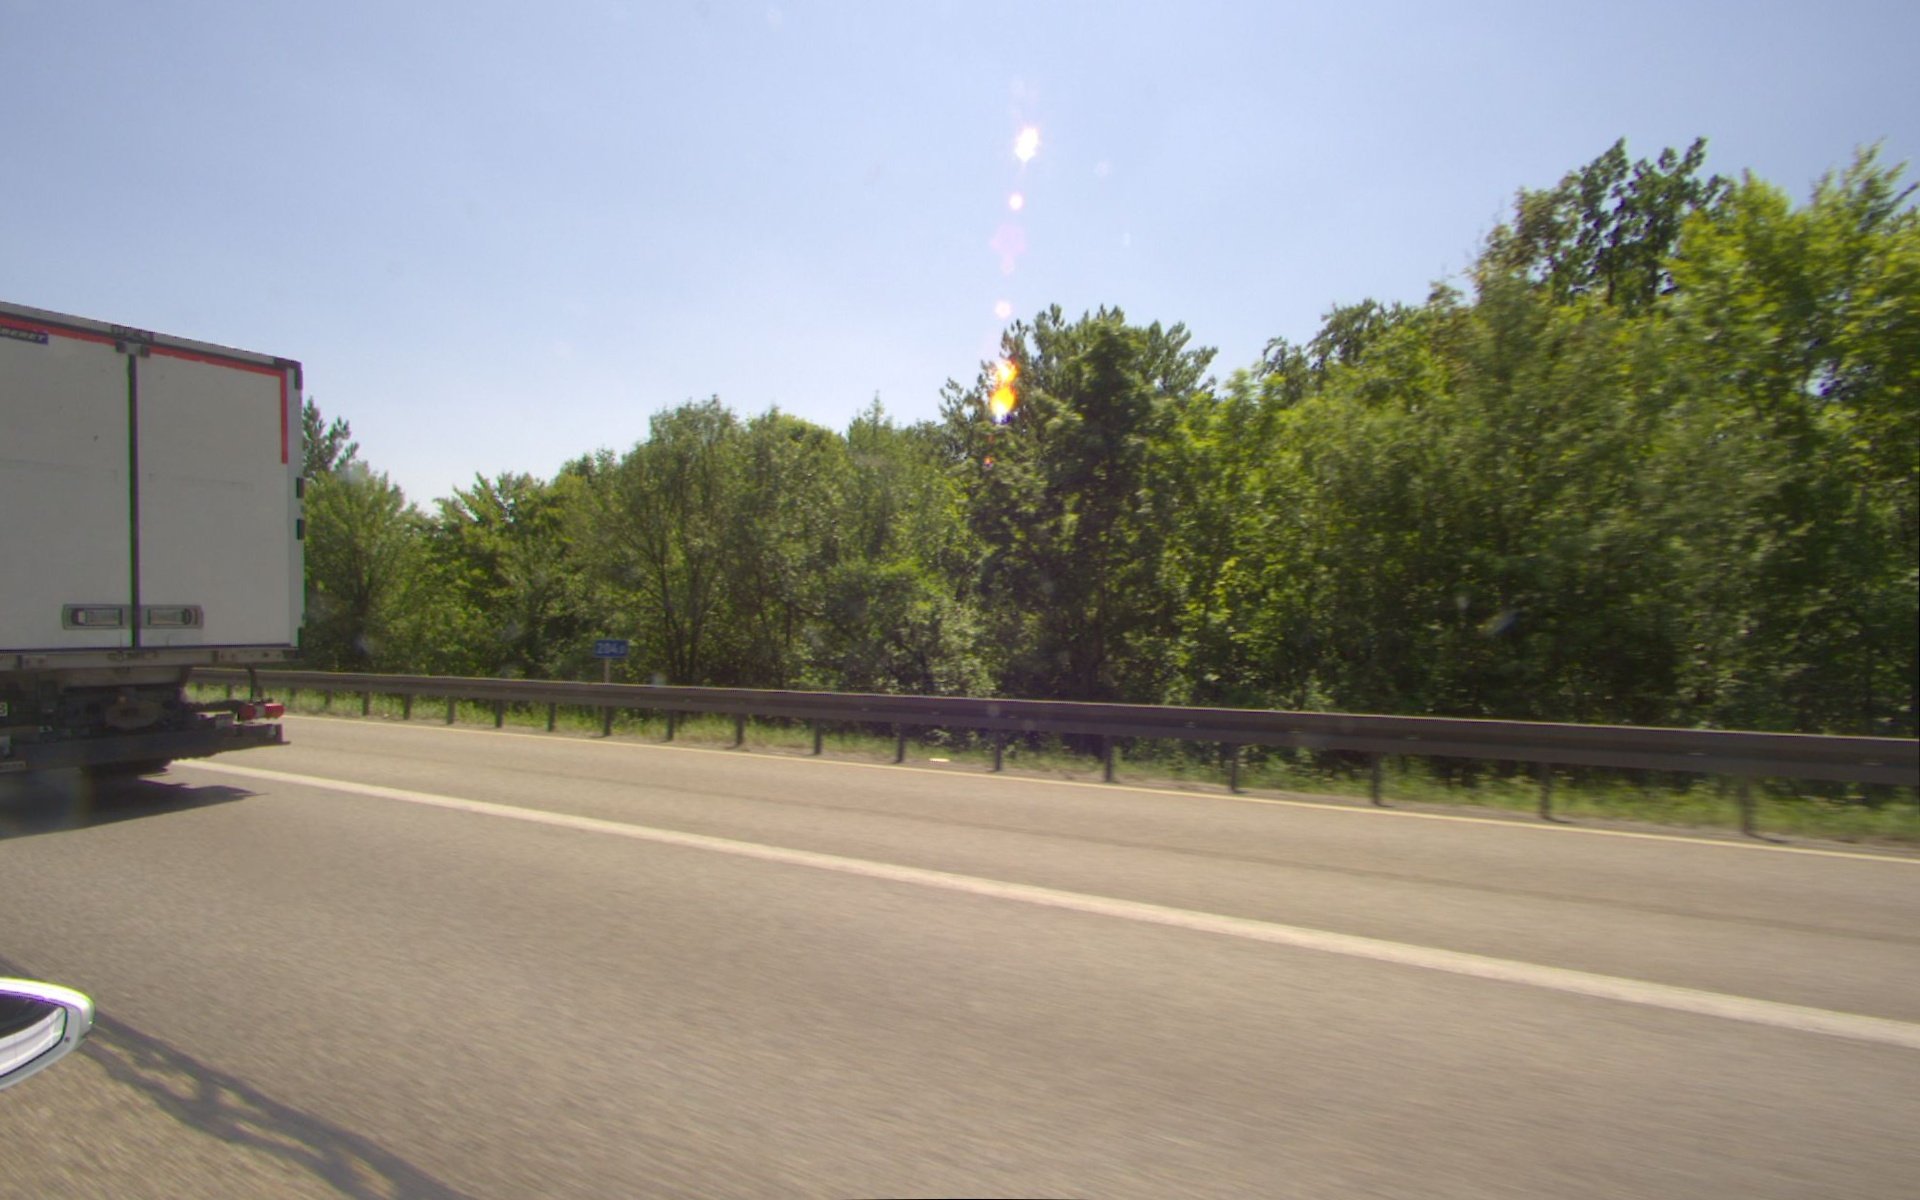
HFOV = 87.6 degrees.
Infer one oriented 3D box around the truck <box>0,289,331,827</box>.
[{"bbox_3d":[-10.611,-0.238,10.671,9.639,3.927,2.683,-1,0,32],"label":"truck"}]
